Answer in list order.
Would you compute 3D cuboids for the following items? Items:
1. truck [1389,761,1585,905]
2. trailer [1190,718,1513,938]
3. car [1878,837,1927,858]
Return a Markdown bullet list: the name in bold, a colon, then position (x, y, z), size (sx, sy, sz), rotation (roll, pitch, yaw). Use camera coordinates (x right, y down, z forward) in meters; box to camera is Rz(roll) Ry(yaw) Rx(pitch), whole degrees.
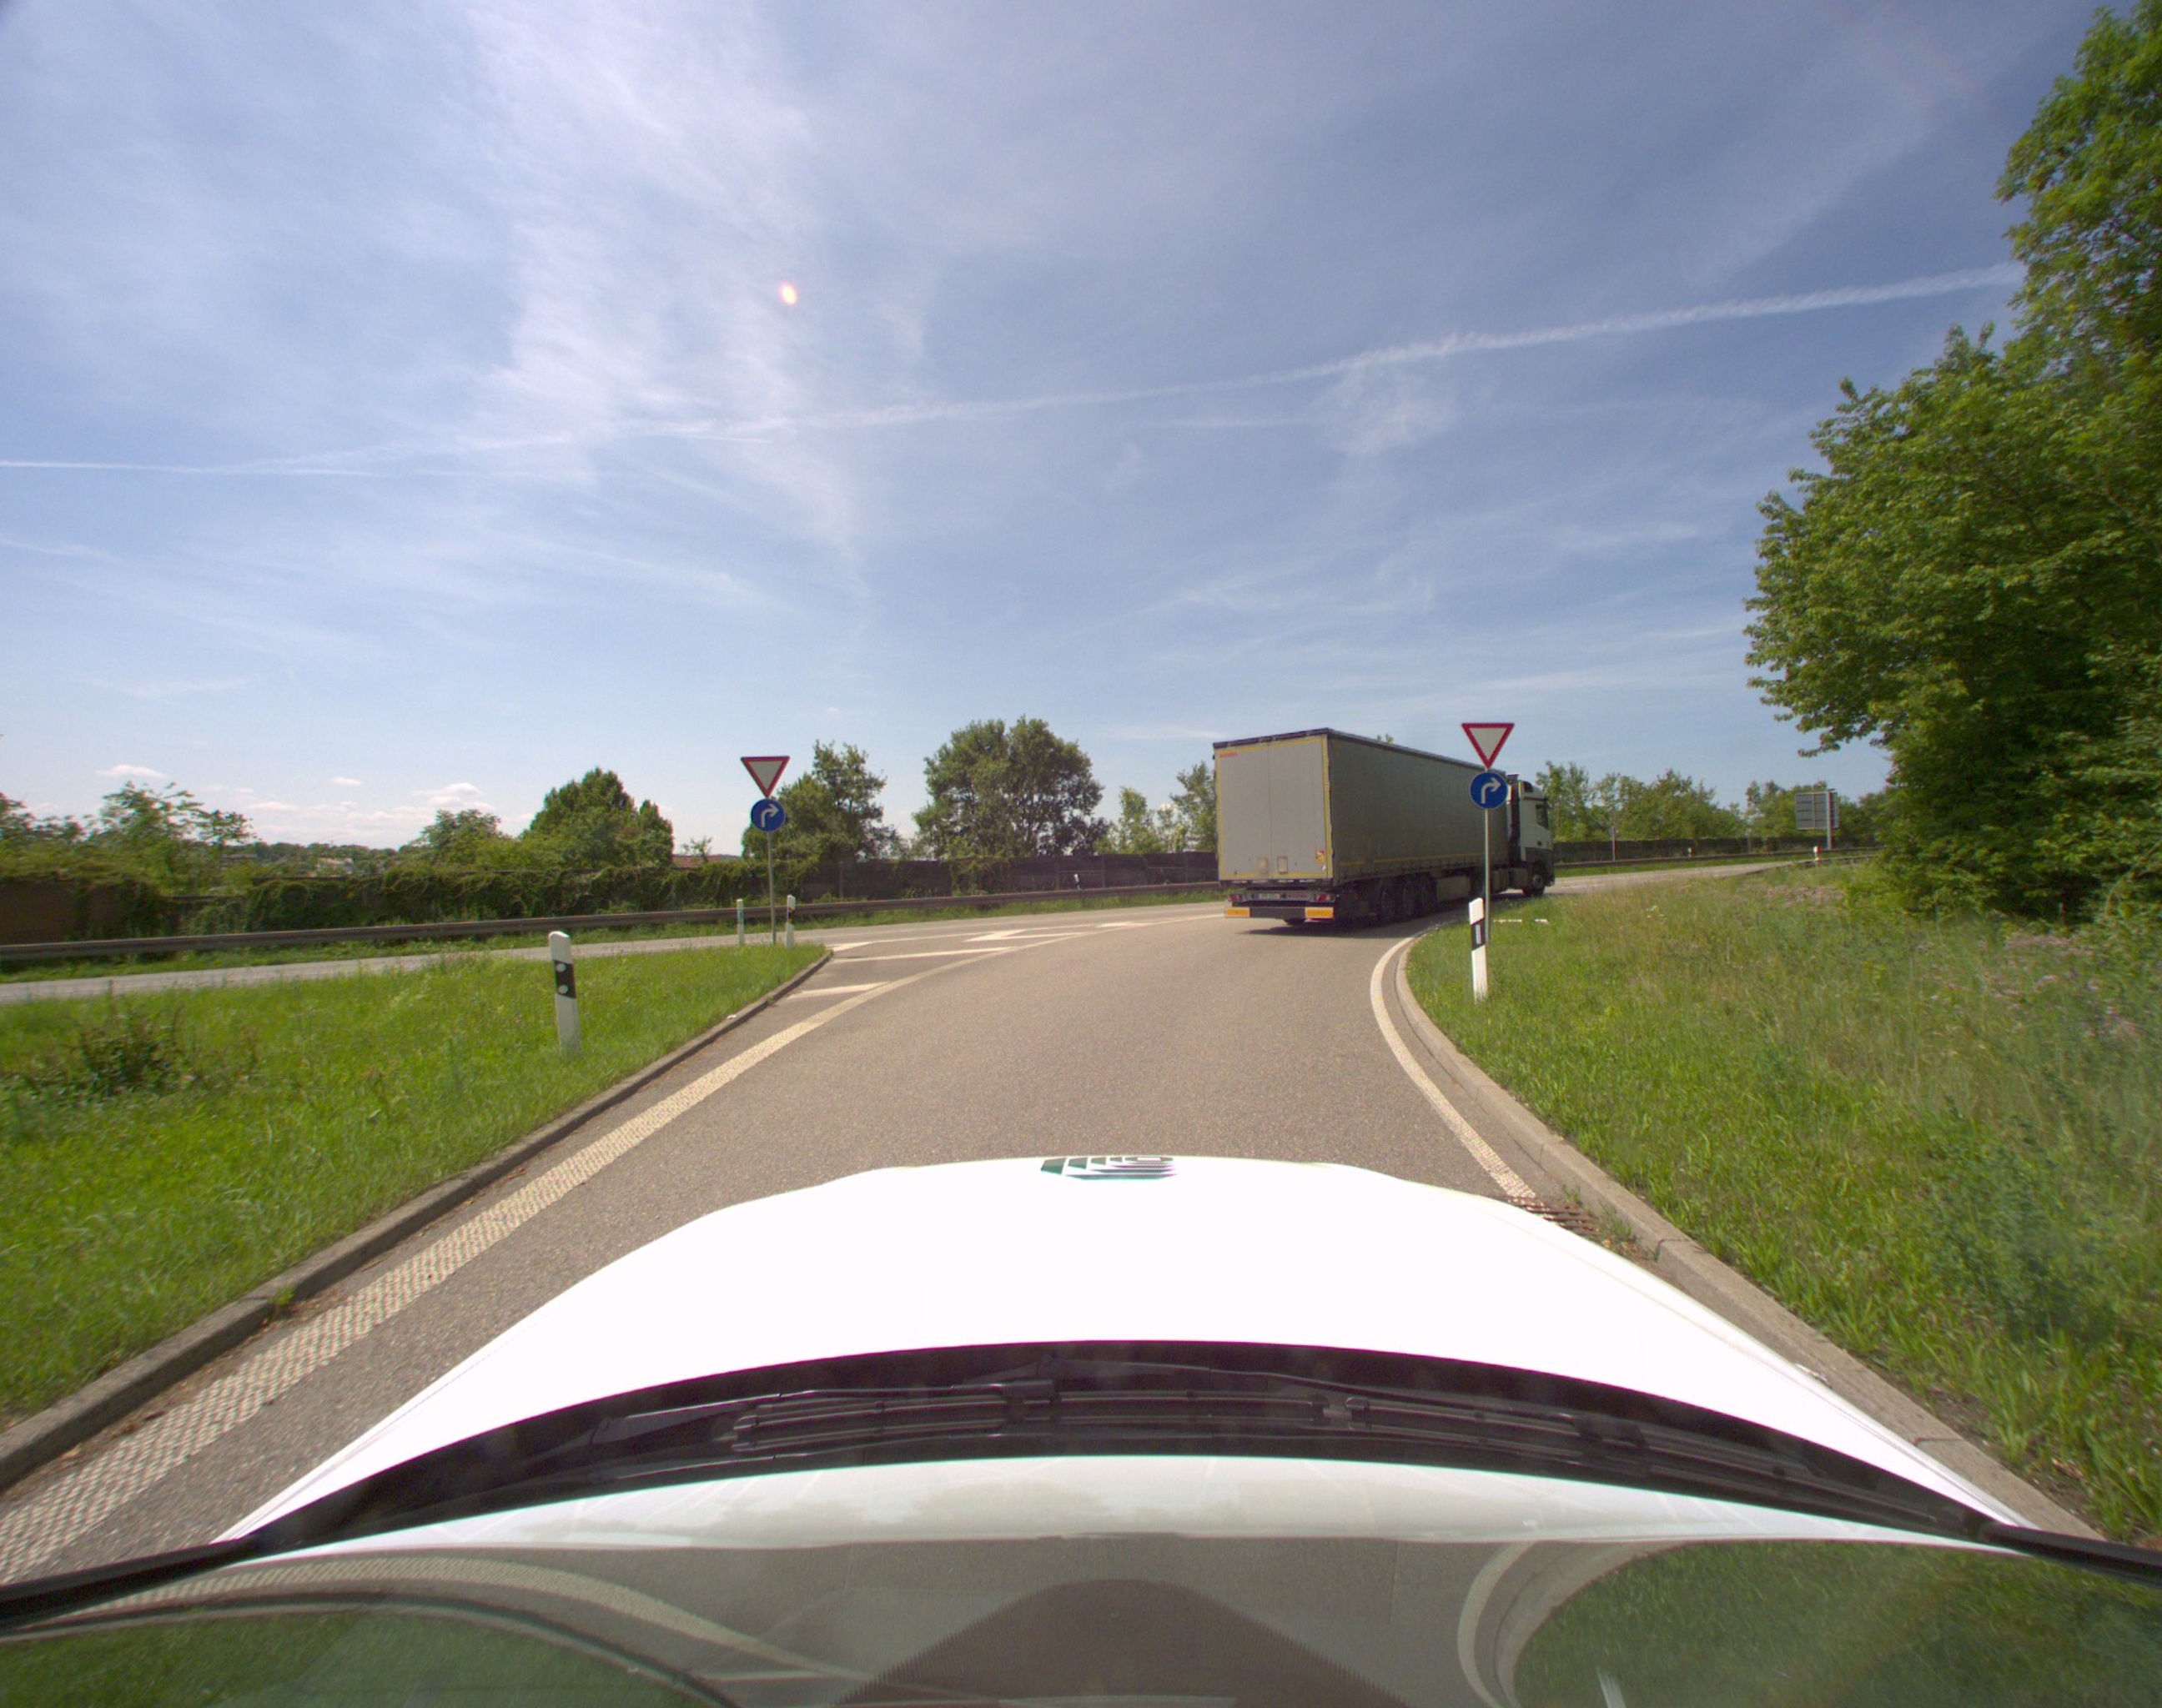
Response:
- **truck**: position (13.731, -0.598, 27.293), size (7.157, 4.225, 3.126), rotation (0, -1, -39)
- **trailer**: position (7.798, -0.465, 21.056), size (2.998, 4.035, 13.435), rotation (-2, -1, 40)
- **car**: position (61.084, -0.488, 60.555), size (4.014, 1.486, 1.655), rotation (-1, 0, -32)
